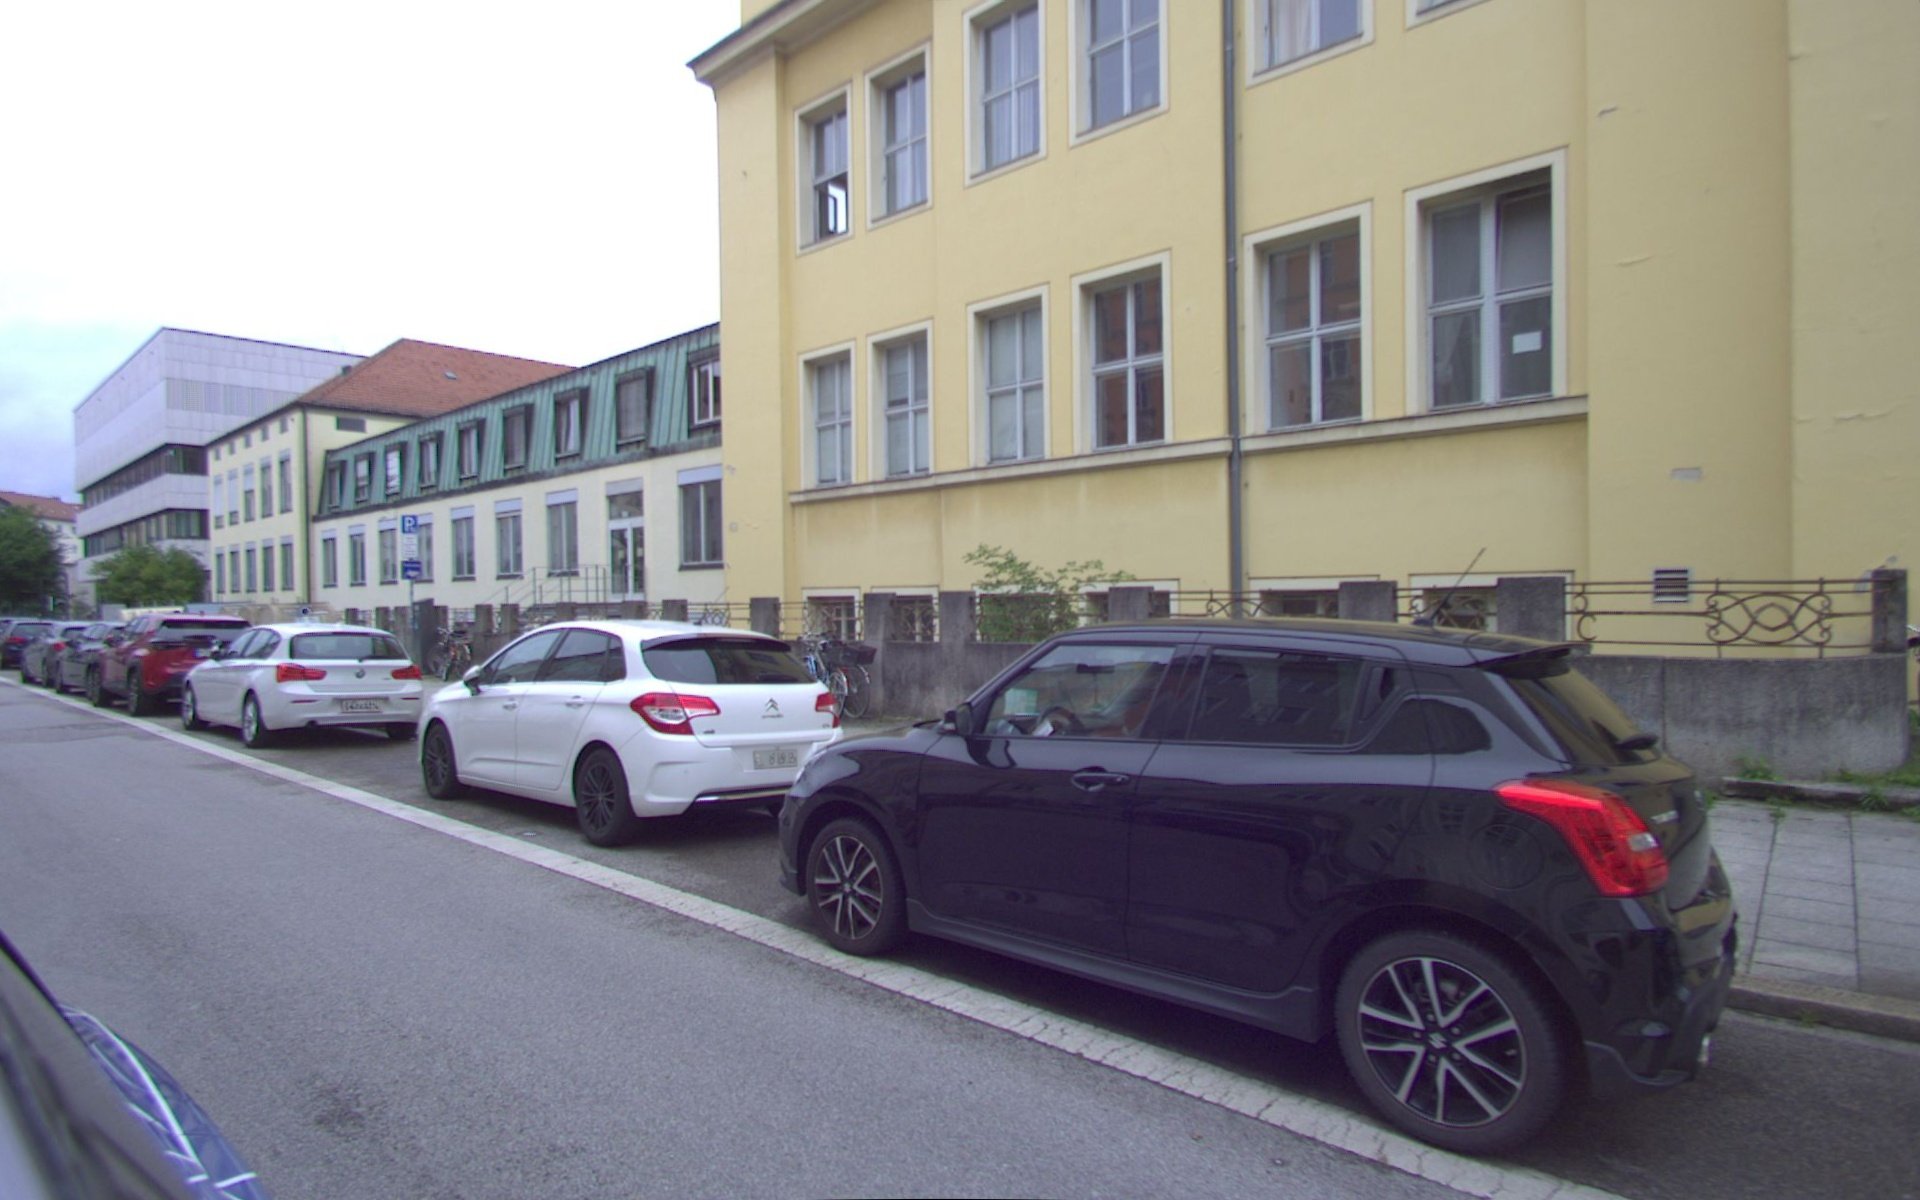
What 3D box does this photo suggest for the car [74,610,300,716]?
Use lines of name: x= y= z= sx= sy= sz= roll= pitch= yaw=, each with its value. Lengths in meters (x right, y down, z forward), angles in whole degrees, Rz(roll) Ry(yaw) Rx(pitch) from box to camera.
car: x=-12.773 y=0.939 z=16.622 sx=4.525 sy=1.493 sz=1.938 roll=0 pitch=-2 yaw=39

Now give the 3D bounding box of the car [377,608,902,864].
car: x=-2.740 y=0.829 z=7.944 sx=4.651 sy=1.442 sz=1.766 roll=0 pitch=-4 yaw=42

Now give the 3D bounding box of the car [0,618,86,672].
car: x=-27.902 y=1.316 z=30.437 sx=4.530 sy=1.493 sz=1.893 roll=-1 pitch=-3 yaw=42

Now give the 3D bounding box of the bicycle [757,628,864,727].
bicycle: x=-1.852 y=0.906 z=12.355 sx=0.530 sy=1.070 sz=1.643 roll=-2 pitch=1 yaw=-38

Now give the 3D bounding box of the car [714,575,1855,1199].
car: x=0.918 y=0.752 z=4.183 sx=4.148 sy=1.508 sz=1.681 roll=0 pitch=-3 yaw=42

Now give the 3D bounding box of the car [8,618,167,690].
car: x=-19.977 y=1.160 z=23.108 sx=4.612 sy=1.429 sz=1.994 roll=0 pitch=-2 yaw=40

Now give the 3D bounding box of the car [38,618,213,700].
car: x=-16.287 y=1.082 z=19.675 sx=4.349 sy=1.415 sz=1.732 roll=-1 pitch=-2 yaw=38

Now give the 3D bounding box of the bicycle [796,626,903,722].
bicycle: x=-1.407 y=0.892 z=12.663 sx=0.530 sy=1.070 sz=1.643 roll=-2 pitch=1 yaw=-38

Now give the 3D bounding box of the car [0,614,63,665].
car: x=-31.500 y=1.332 z=33.557 sx=4.347 sy=1.599 sz=1.895 roll=-2 pitch=-4 yaw=39

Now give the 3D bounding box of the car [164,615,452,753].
car: x=-8.443 y=0.952 z=12.931 sx=4.661 sy=1.440 sz=1.775 roll=0 pitch=-3 yaw=40

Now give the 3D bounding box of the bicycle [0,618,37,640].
bicycle: x=-53.914 y=1.645 z=57.701 sx=0.519 sy=1.160 sz=1.793 roll=-1 pitch=1 yaw=39

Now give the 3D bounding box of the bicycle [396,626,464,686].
bicycle: x=-10.966 y=1.124 z=20.900 sx=2.105 sy=1.156 sz=0.529 roll=-1 pitch=0 yaw=42

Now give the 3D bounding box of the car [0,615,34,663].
car: x=-34.986 y=1.375 z=36.408 sx=4.345 sy=1.649 sz=1.861 roll=-1 pitch=-3 yaw=40

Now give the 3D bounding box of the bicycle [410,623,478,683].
bicycle: x=-10.862 y=1.090 z=21.284 sx=2.105 sy=1.194 sz=0.529 roll=-1 pitch=0 yaw=42

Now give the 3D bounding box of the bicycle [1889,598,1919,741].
bicycle: x=7.472 y=0.514 z=7.650 sx=0.425 sy=1.058 sz=1.643 roll=-1 pitch=0 yaw=35
